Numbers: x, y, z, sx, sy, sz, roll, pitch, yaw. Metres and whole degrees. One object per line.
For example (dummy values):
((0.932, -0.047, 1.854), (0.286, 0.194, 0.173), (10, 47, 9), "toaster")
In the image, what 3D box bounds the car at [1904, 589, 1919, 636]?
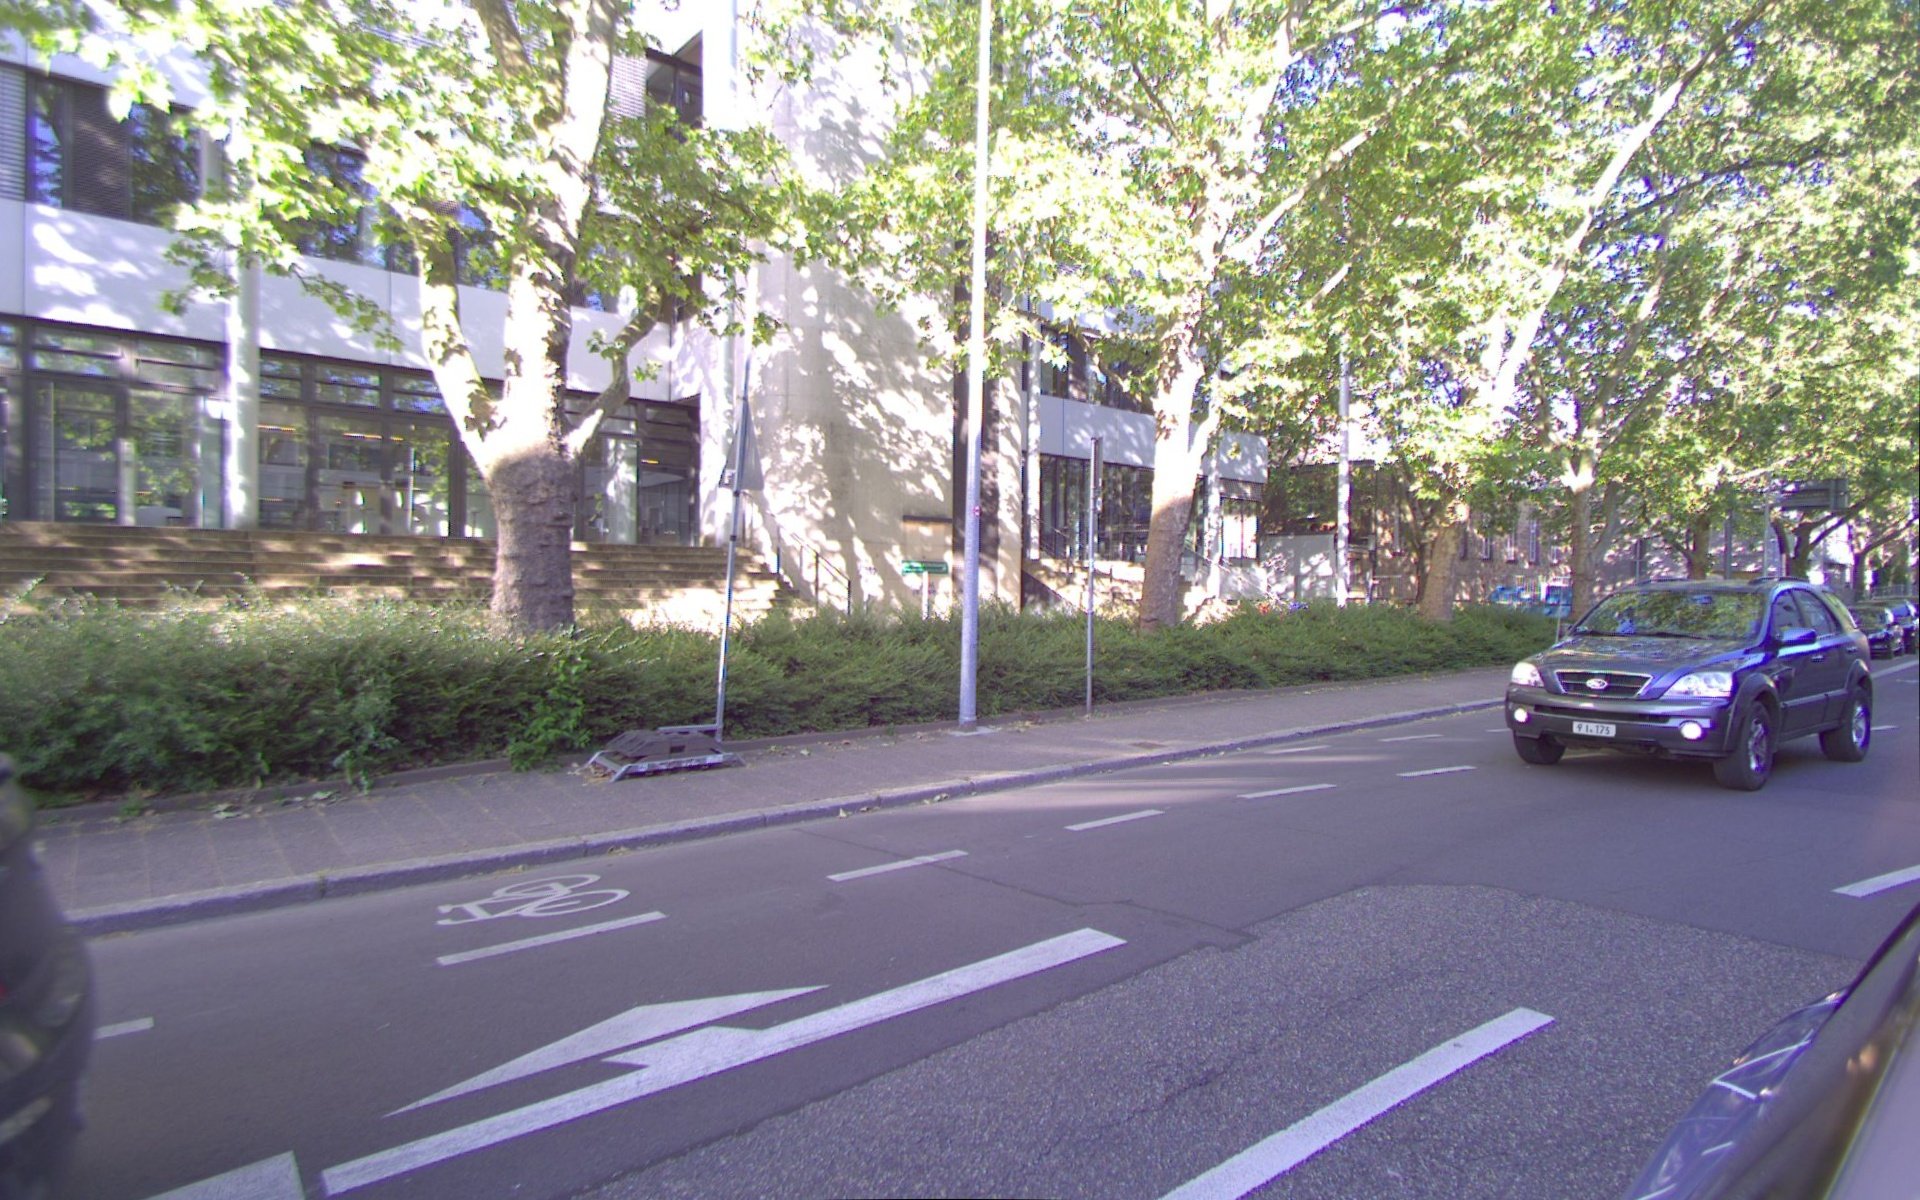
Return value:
((38.738, 0.490, 39.996), (3.829, 1.818, 1.739), (0, 1, -42), "car")

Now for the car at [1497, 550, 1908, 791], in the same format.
((7.066, 0.528, 9.503), (4.301, 1.793, 1.786), (0, -1, -35), "car")

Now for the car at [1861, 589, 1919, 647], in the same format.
((29.731, 0.522, 31.854), (3.840, 1.708, 1.633), (0, 1, -42), "car")

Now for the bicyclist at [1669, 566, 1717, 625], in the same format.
((20.863, -0.140, 28.808), (1.033, 1.640, 0.687), (0, 0, 42), "bicyclist")

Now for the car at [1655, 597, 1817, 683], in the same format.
((14.988, 0.705, 19.468), (4.022, 1.472, 1.739), (0, -1, -42), "car")

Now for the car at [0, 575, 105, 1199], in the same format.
((-3.487, 0.704, 1.093), (3.906, 1.501, 1.647), (0, 1, -41), "car")

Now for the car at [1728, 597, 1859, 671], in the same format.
((18.611, 0.708, 22.547), (3.851, 1.511, 1.679), (0, -1, -42), "car")

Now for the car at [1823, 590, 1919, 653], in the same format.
((26.010, 0.560, 28.748), (4.022, 1.653, 1.739), (0, 1, -42), "car")
